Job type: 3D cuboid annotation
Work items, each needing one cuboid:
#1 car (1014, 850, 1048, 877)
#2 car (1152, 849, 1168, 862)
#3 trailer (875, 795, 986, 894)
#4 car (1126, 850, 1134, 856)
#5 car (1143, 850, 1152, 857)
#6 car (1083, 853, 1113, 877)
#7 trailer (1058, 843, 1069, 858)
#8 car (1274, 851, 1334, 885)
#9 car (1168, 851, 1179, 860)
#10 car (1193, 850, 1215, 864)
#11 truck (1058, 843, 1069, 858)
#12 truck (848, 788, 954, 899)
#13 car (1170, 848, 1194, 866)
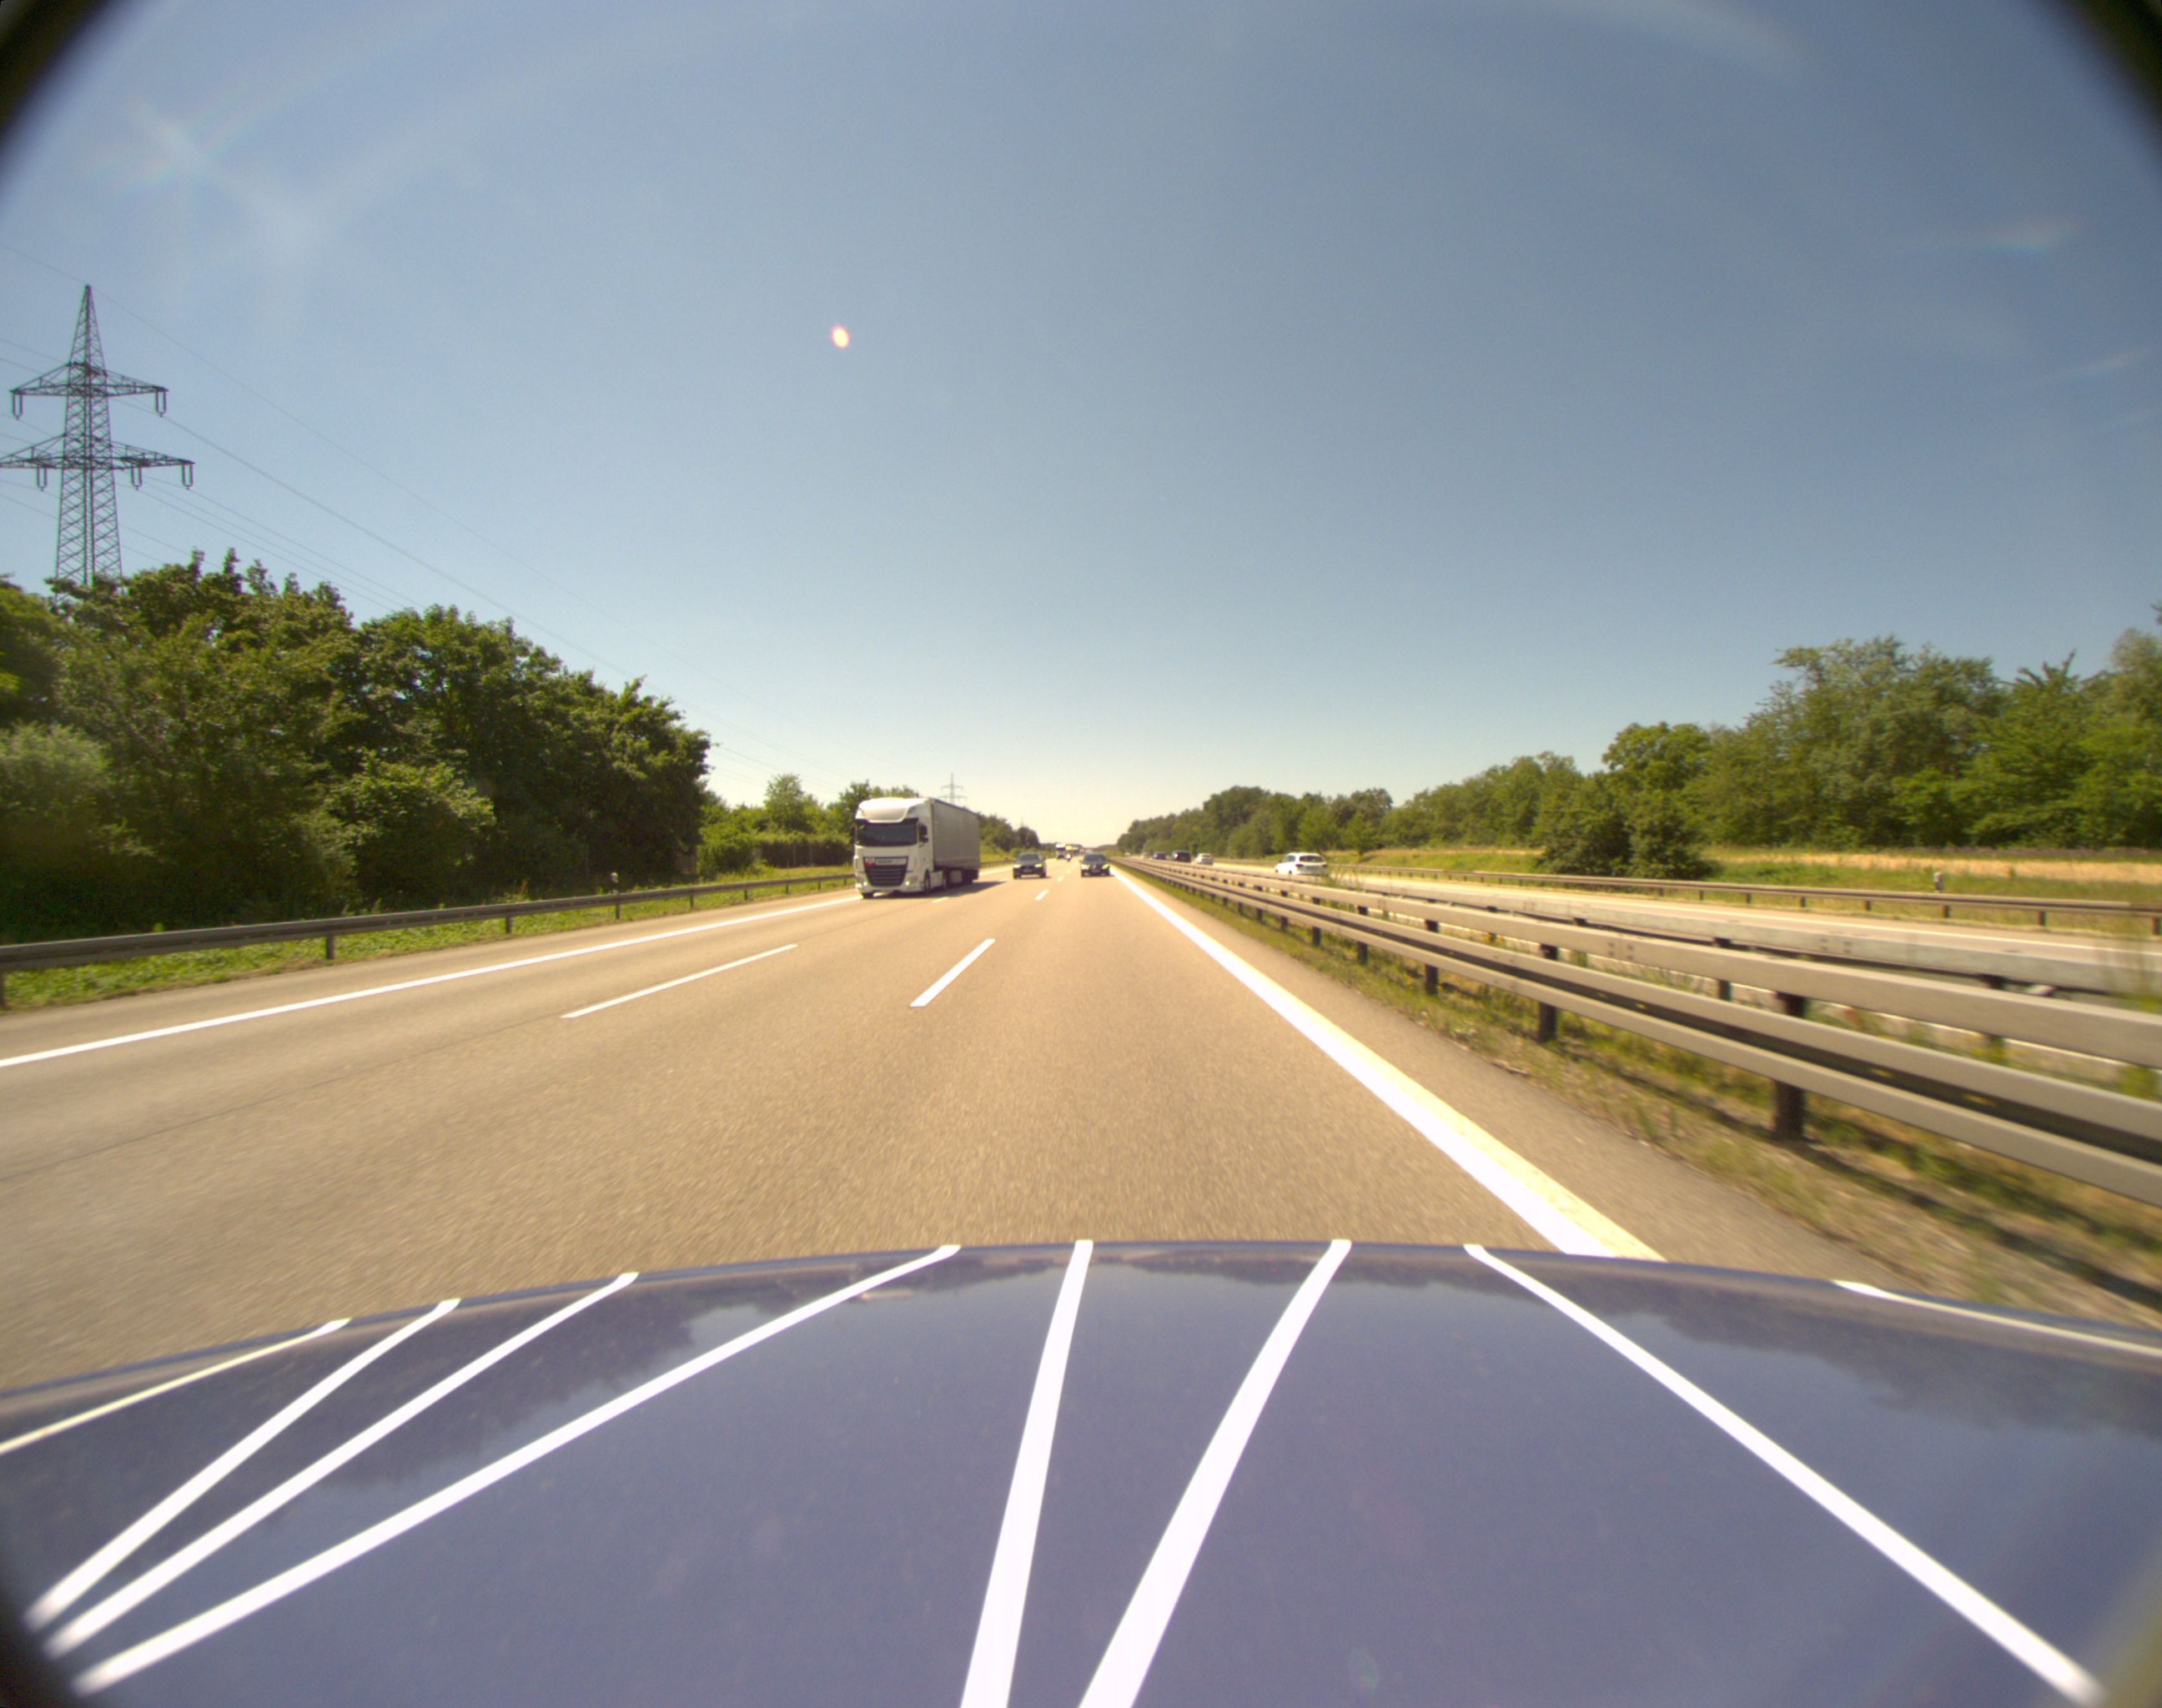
[{"bbox_3d":[-3.170,0.599,48.895,1.878,1.614,4.004,-1,0,0],"label":"car"},{"bbox_3d":[10.814,0.170,103.930,1.771,1.740,3.986,1,0,1],"label":"car"},{"bbox_3d":[-7.201,-0.443,38.712,2.743,4.083,13.121,-2,0,1],"label":"trailer"},{"bbox_3d":[12.092,-0.216,188.421,1.799,1.483,4.238,1,0,1],"label":"car"},{"bbox_3d":[15.828,-0.135,181.888,1.840,1.576,3.889,1,0,1],"label":"car"},{"bbox_3d":[1.023,0.672,48.859,1.808,1.385,3.999,-2,0,0],"label":"car"},{"bbox_3d":[-4.623,-0.984,204.084,2.573,3.870,13.278,-2,0,0],"label":"trailer"},{"bbox_3d":[10.984,0.652,37.635,1.813,1.527,3.961,1,0,0],"label":"car"},{"bbox_3d":[16.019,0.273,131.620,1.586,1.420,3.477,1,0,1],"label":"car"},{"bbox_3d":[14.404,0.365,89.255,1.884,1.557,4.192,1,0,1],"label":"car"},{"bbox_3d":[-4.643,-0.948,197.462,2.573,3.871,5.722,-2,1,0],"label":"truck"},{"bbox_3d":[-7.301,-0.401,31.734,2.743,4.096,6.124,-2,1,1],"label":"truck"},{"bbox_3d":[10.510,0.297,78.970,1.964,1.761,4.442,0,0,1],"label":"car"}]
